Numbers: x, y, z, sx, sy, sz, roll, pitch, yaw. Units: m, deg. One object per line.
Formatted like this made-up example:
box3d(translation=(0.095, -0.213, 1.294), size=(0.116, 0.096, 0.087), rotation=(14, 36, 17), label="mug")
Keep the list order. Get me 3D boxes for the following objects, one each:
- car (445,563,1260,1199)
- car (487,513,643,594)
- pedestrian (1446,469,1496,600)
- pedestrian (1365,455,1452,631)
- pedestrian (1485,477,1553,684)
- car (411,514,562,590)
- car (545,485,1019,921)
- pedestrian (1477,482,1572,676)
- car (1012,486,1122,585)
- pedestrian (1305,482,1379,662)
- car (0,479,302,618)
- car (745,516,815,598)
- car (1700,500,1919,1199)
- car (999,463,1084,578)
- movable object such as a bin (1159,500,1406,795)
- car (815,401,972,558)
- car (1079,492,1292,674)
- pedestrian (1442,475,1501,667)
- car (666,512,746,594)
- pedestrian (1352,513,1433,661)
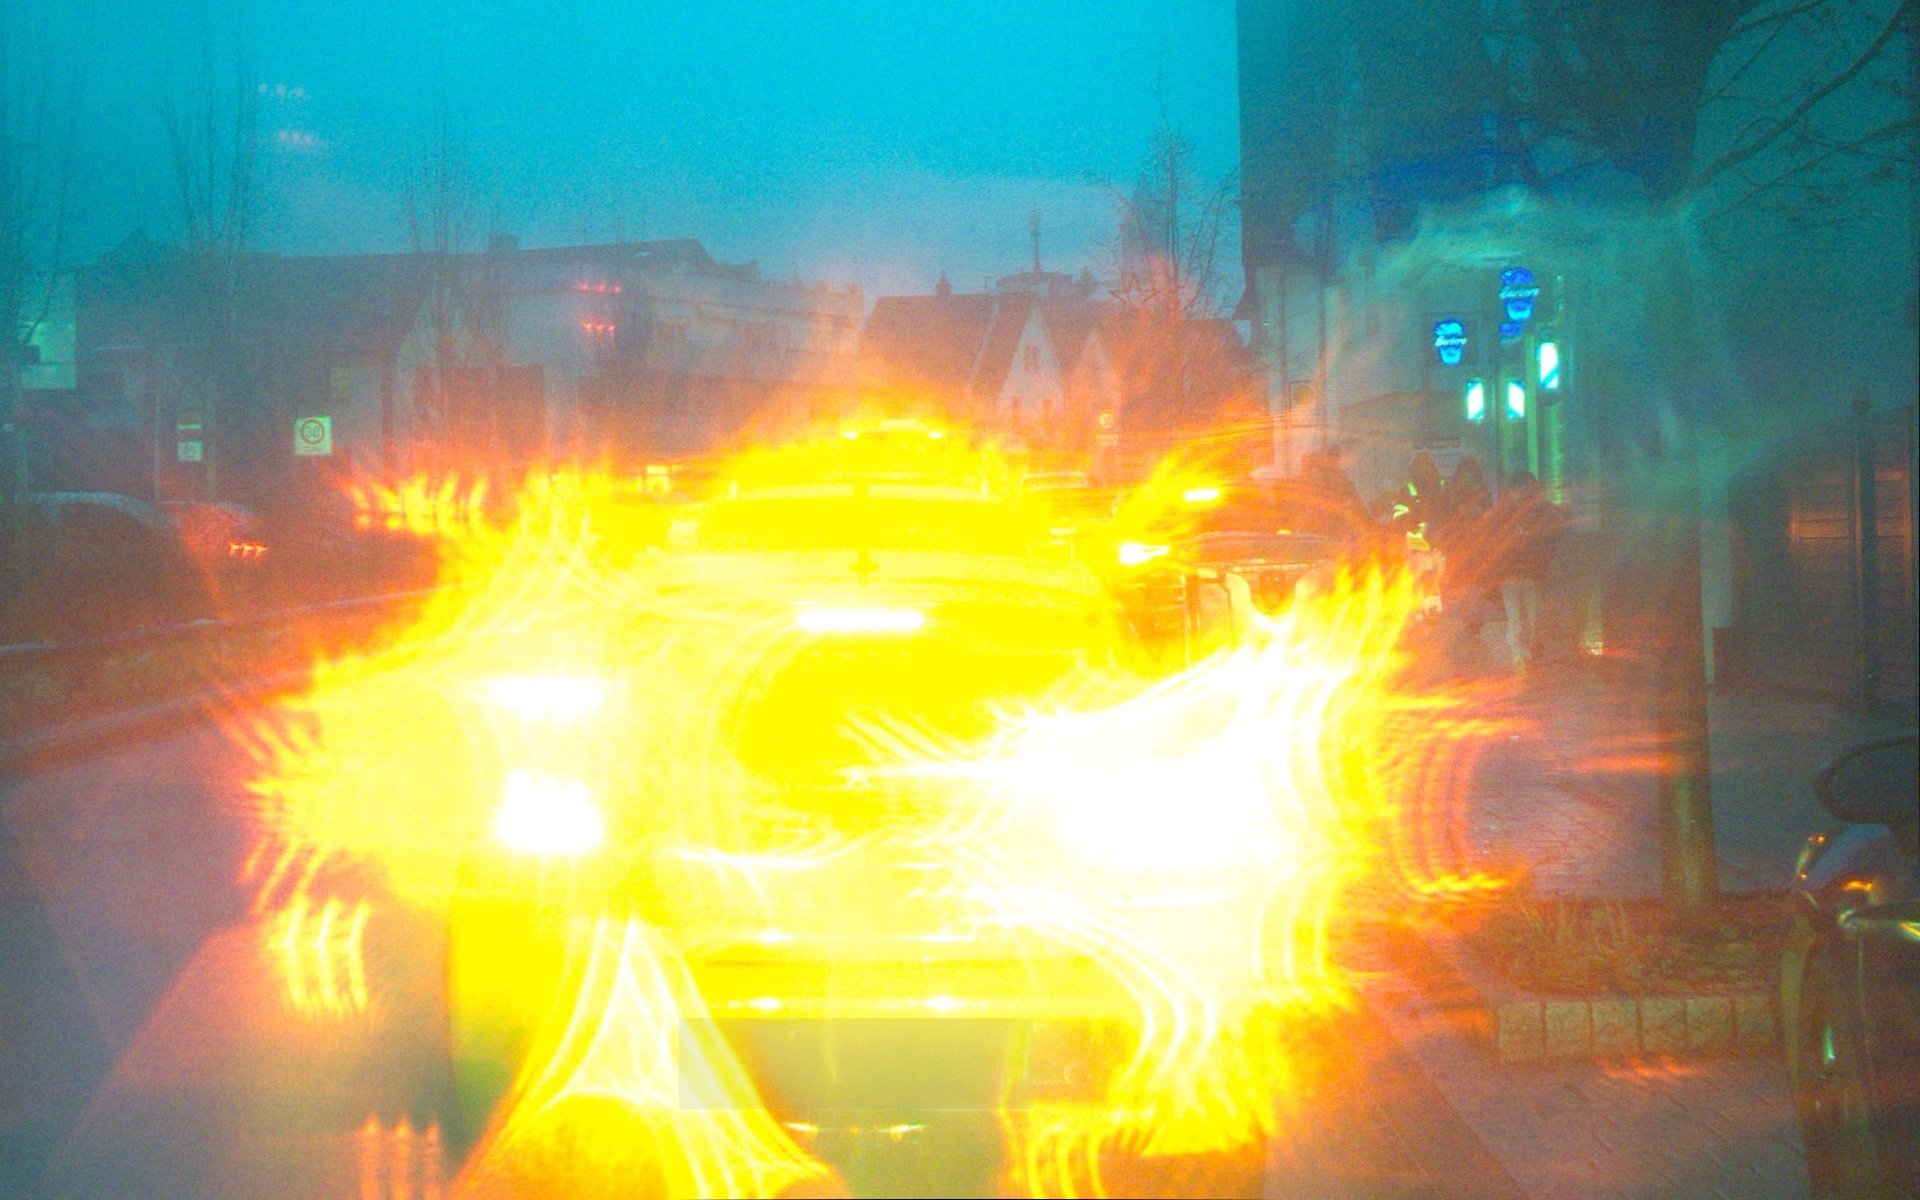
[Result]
box3d(translation=(-0.221, 0.649, 8.150), size=(1.563, 1.408, 3.018), rotation=(1, 2, 0), label="car")
box3d(translation=(-11.067, -1.279, 96.233), size=(4.383, 2.159, 1.995), rotation=(0, -1, 44), label="car")
box3d(translation=(6.809, -0.868, 45.815), size=(0.618, 1.721, 0.501), rotation=(0, -1, 12), label="pedestrian")
box3d(translation=(4.492, -0.583, 34.364), size=(0.712, 1.709, 1.034), rotation=(-2, 2, 13), label="pedestrian")
box3d(translation=(4.538, -0.150, 27.900), size=(0.529, 1.647, 0.953), rotation=(0, -1, 10), label="pedestrian")
box3d(translation=(-12.762, -1.266, 92.554), size=(4.166, 1.969, 1.818), rotation=(0, -1, 44), label="car")
box3d(translation=(-0.689, 0.336, 14.706), size=(1.766, 1.623, 3.586), rotation=(1, 2, -1), label="car")
box3d(translation=(4.949, -0.177, 30.173), size=(0.747, 1.673, 1.052), rotation=(0, -1, 6), label="pedestrian")
box3d(translation=(2.047, -1.244, 66.604), size=(1.997, 1.858, 4.083), rotation=(0, 1, 0), label="car")
box3d(translation=(3.684, -0.273, 33.181), size=(0.573, 1.694, 0.653), rotation=(-3, 1, 1), label="pedestrian")
box3d(translation=(-10.551, -0.632, 42.140), size=(4.625, 1.662, 2.000), rotation=(0, 1, -2), label="car")
box3d(translation=(-5.072, -1.192, 97.259), size=(1.919, 2.208, 3.975), rotation=(1, -1, -2), label="car")
box3d(translation=(2.461, 0.560, 5.389), size=(1.728, 1.459, 4.199), rotation=(-4, 2, 2), label="car")
box3d(translation=(1.854, -1.791, 78.917), size=(1.870, 2.460, 4.443), rotation=(1, -1, 1), label="car")
box3d(translation=(1.689, 0.224, 18.273), size=(1.129, 1.415, 1.417), rotation=(-4, 2, 2), label="movable object such as a bin")
box3d(translation=(-1.424, -2.493, 73.341), size=(3.190, 3.021, 6.305), rotation=(1, -1, -1), label="car")
box3d(translation=(2.204, -0.211, 34.625), size=(1.735, 1.686, 4.387), rotation=(-1, 1, -1), label="car")
box3d(translation=(4.839, -0.285, 32.489), size=(0.529, 1.794, 0.864), rotation=(0, 2, 10), label="pedestrian")
box3d(translation=(-6.570, -1.199, 89.366), size=(1.919, 2.020, 3.975), rotation=(1, -1, -2), label="car")
box3d(translation=(4.883, -0.158, 38.848), size=(0.618, 1.621, 0.907), rotation=(-1, 3, -13), label="pedestrian")
